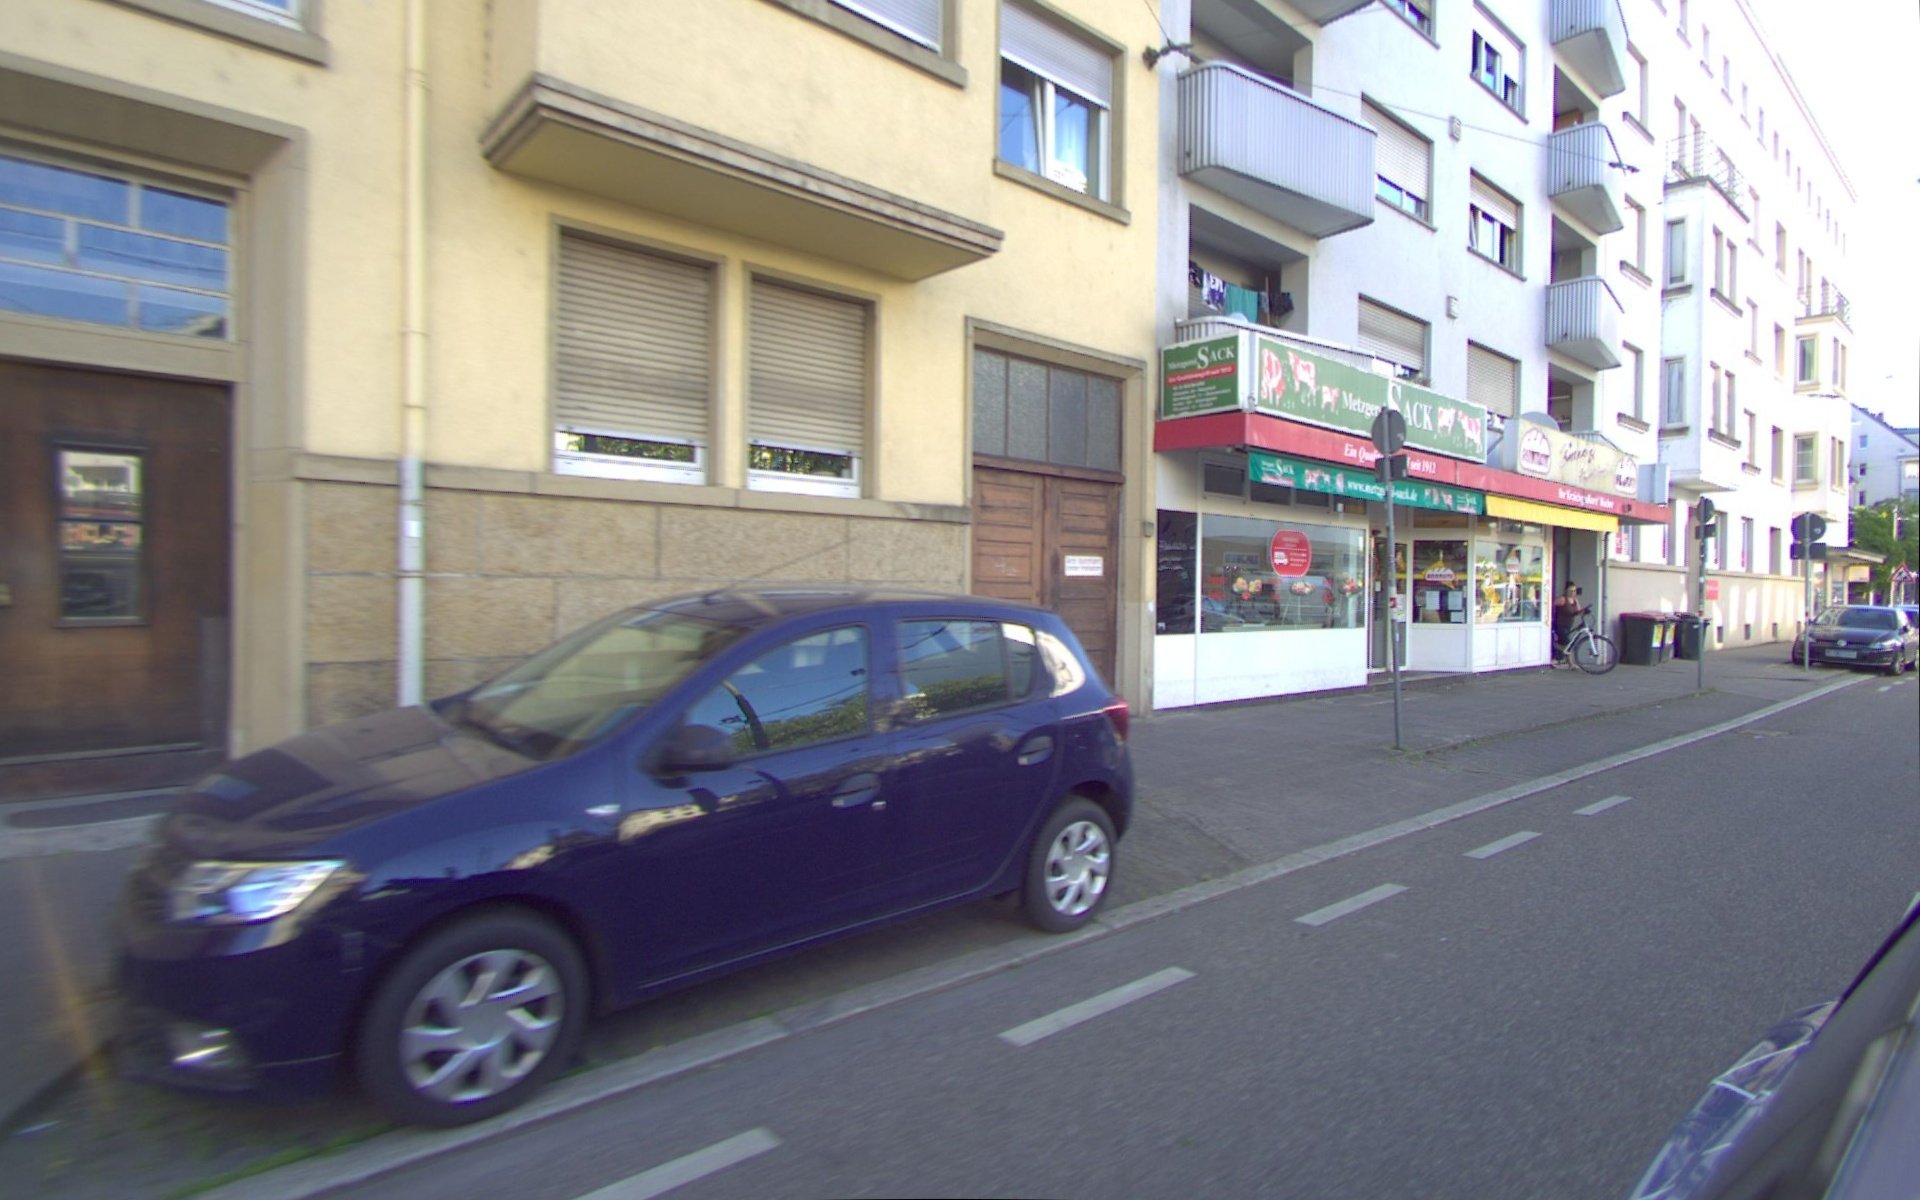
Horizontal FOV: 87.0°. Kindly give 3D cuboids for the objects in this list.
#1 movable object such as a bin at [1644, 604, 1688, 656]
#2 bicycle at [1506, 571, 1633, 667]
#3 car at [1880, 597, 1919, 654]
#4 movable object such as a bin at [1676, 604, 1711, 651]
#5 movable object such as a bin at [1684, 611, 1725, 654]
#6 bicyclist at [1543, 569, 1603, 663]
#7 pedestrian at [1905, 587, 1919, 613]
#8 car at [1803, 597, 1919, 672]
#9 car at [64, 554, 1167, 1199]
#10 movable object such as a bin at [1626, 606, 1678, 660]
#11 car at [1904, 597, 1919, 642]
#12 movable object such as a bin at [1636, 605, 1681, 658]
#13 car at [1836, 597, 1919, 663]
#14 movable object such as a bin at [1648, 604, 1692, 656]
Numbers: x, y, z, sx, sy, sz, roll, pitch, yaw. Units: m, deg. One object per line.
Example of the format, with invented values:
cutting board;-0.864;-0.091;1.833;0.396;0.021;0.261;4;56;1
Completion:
movable object such as a bin;15.190;0.636;21.778;0.560;1.086;0.677;0;0;-42
bicycle;11.585;0.339;19.291;0.761;1.732;1.936;1;0;-37
car;28.400;0.733;29.403;4.023;1.525;1.862;0;4;-40
movable object such as a bin;17.156;0.629;23.664;0.545;1.070;0.559;0;0;-42
movable object such as a bin;16.898;0.733;22.971;0.560;0.928;0.656;0;0;-42
bicyclist;11.640;0.290;19.223;0.500;1.724;0.845;0;0;-37
pedestrian;71.743;-0.008;76.228;0.645;1.980;0.577;1;0;33
car;20.538;0.693;22.690;4.280;1.424;1.715;0;4;-40
car;-1.066;0.622;4.205;3.932;1.509;1.722;0;2;-41
movable object such as a bin;14.321;0.665;20.939;0.607;1.086;0.771;0;0;-42
car;35.128;0.703;35.894;4.831;1.525;1.753;0;4;-40
movable object such as a bin;14.762;0.647;21.394;0.560;1.086;0.677;0;0;-42
car;24.383;0.725;26.232;3.917;1.490;1.862;0;4;-40
movable object such as a bin;15.577;0.647;22.211;0.560;1.086;0.677;0;0;-42
